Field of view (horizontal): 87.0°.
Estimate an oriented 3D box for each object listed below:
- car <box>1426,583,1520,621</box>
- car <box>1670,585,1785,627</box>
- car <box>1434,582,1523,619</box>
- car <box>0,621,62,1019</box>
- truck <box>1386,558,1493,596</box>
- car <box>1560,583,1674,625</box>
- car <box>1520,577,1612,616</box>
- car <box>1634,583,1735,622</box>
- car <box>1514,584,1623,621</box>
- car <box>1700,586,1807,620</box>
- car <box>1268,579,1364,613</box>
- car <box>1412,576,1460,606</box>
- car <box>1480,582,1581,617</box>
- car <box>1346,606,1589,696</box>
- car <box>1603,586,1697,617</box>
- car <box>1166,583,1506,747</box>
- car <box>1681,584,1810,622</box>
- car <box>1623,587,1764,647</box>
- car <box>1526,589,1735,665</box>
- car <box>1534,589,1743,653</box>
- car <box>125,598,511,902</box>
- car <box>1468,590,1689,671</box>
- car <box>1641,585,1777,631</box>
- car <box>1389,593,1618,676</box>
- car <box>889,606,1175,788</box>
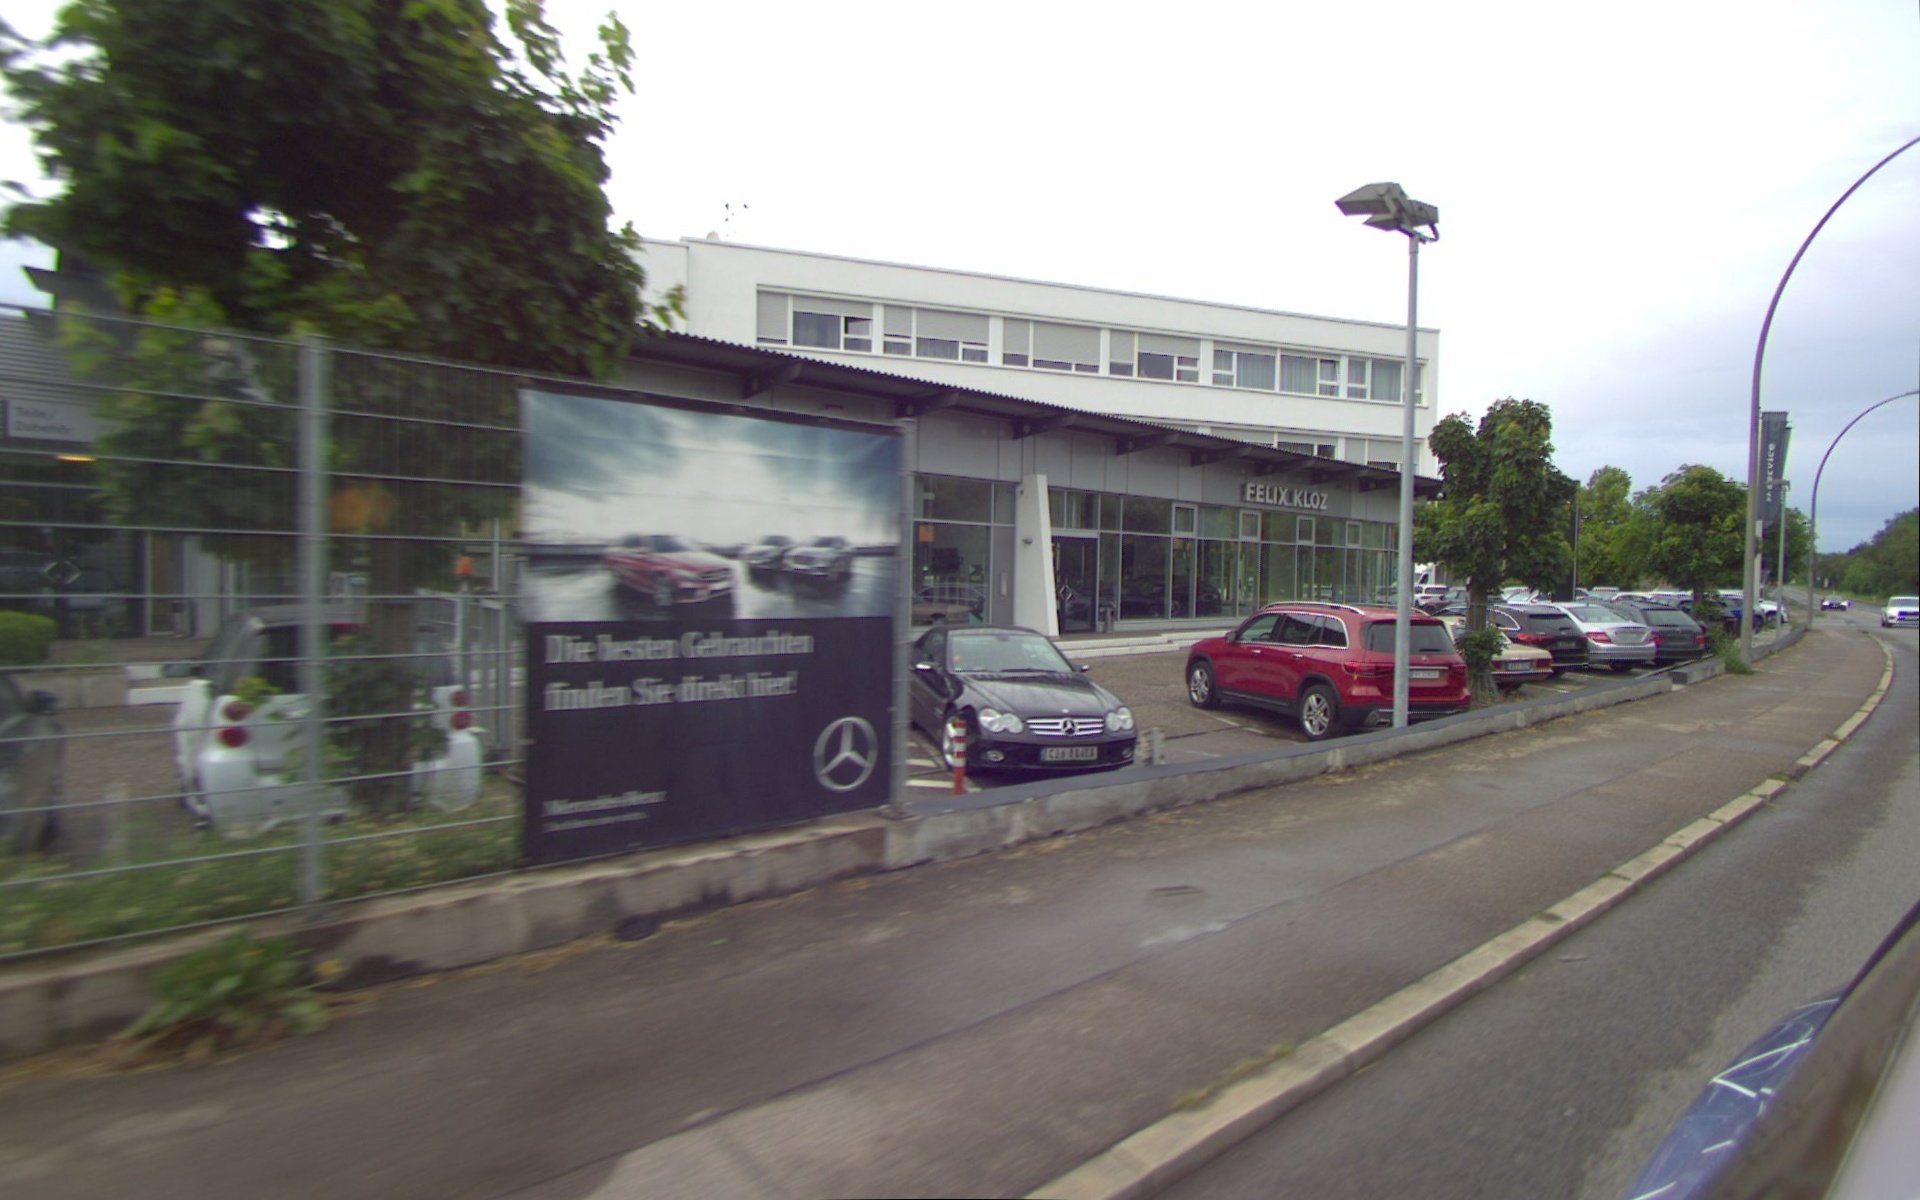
[{"bbox_3d":[25.687,0.093,50.680,3.904,1.662,1.776,-3,1,-13],"label":"car"},{"bbox_3d":[32.453,0.235,42.830,3.735,1.619,1.736,1,2,-11],"label":"car"},{"bbox_3d":[23.552,-0.019,46.084,1.744,1.496,3.570,1,2,-10],"label":"car"},{"bbox_3d":[-5.393,0.828,4.520,1.965,1.387,4.114,-2,0,-41],"label":"car"},{"bbox_3d":[36.546,-1.742,77.091,8.303,2.656,2.793,-2,0,-27],"label":"truck"},{"bbox_3d":[27.454,0.169,42.327,4.091,1.619,1.736,1,2,-17],"label":"car"},{"bbox_3d":[30.808,-0.188,51.469,3.917,1.742,1.682,-3,1,-13],"label":"car"},{"bbox_3d":[32.529,0.104,45.465,3.484,1.619,1.668,1,2,-11],"label":"car"},{"bbox_3d":[27.096,0.097,45.142,3.916,1.564,1.908,1,1,-13],"label":"car"},{"bbox_3d":[41.549,0.145,53.040,4.276,1.692,1.969,0,1,-7],"label":"car"},{"bbox_3d":[16.846,-0.221,48.103,1.958,1.460,4.421,2,1,-18],"label":"car"},{"bbox_3d":[26.300,-0.513,56.009,1.747,1.571,3.435,2,1,15],"label":"car"},{"bbox_3d":[27.067,-0.018,48.034,3.916,1.564,1.908,1,1,-14],"label":"car"},{"bbox_3d":[9.415,0.872,19.218,1.699,1.317,4.245,-2,2,-16],"label":"car"},{"bbox_3d":[35.797,0.043,52.518,4.273,1.518,1.970,-1,1,-21],"label":"car"},{"bbox_3d":[4.821,0.686,13.879,1.958,1.682,4.709,-2,3,-16],"label":"car"},{"bbox_3d":[36.588,0.119,47.232,4.352,1.673,1.924,1,1,7],"label":"car"},{"bbox_3d":[22.209,0.446,30.870,1.815,1.628,4.531,2,1,14],"label":"car"},{"bbox_3d":[15.669,0.582,23.948,1.860,1.575,4.006,-2,0,-9],"label":"car"},{"bbox_3d":[17.771,0.501,26.792,1.894,1.498,4.452,1,1,-14],"label":"car"},{"bbox_3d":[-4.623,0.816,7.173,1.965,1.462,2.725,-2,4,-40],"label":"car"},{"bbox_3d":[13.603,0.591,22.585,1.799,1.485,4.184,0,2,-12],"label":"car"},{"bbox_3d":[29.505,0.316,39.910,4.275,1.652,1.848,1,3,-12],"label":"car"},{"bbox_3d":[11.163,0.655,21.130,1.934,1.511,3.977,-2,0,-16],"label":"car"},{"bbox_3d":[0.527,0.856,10.961,1.772,1.459,4.174,1,1,-16],"label":"car"}]
